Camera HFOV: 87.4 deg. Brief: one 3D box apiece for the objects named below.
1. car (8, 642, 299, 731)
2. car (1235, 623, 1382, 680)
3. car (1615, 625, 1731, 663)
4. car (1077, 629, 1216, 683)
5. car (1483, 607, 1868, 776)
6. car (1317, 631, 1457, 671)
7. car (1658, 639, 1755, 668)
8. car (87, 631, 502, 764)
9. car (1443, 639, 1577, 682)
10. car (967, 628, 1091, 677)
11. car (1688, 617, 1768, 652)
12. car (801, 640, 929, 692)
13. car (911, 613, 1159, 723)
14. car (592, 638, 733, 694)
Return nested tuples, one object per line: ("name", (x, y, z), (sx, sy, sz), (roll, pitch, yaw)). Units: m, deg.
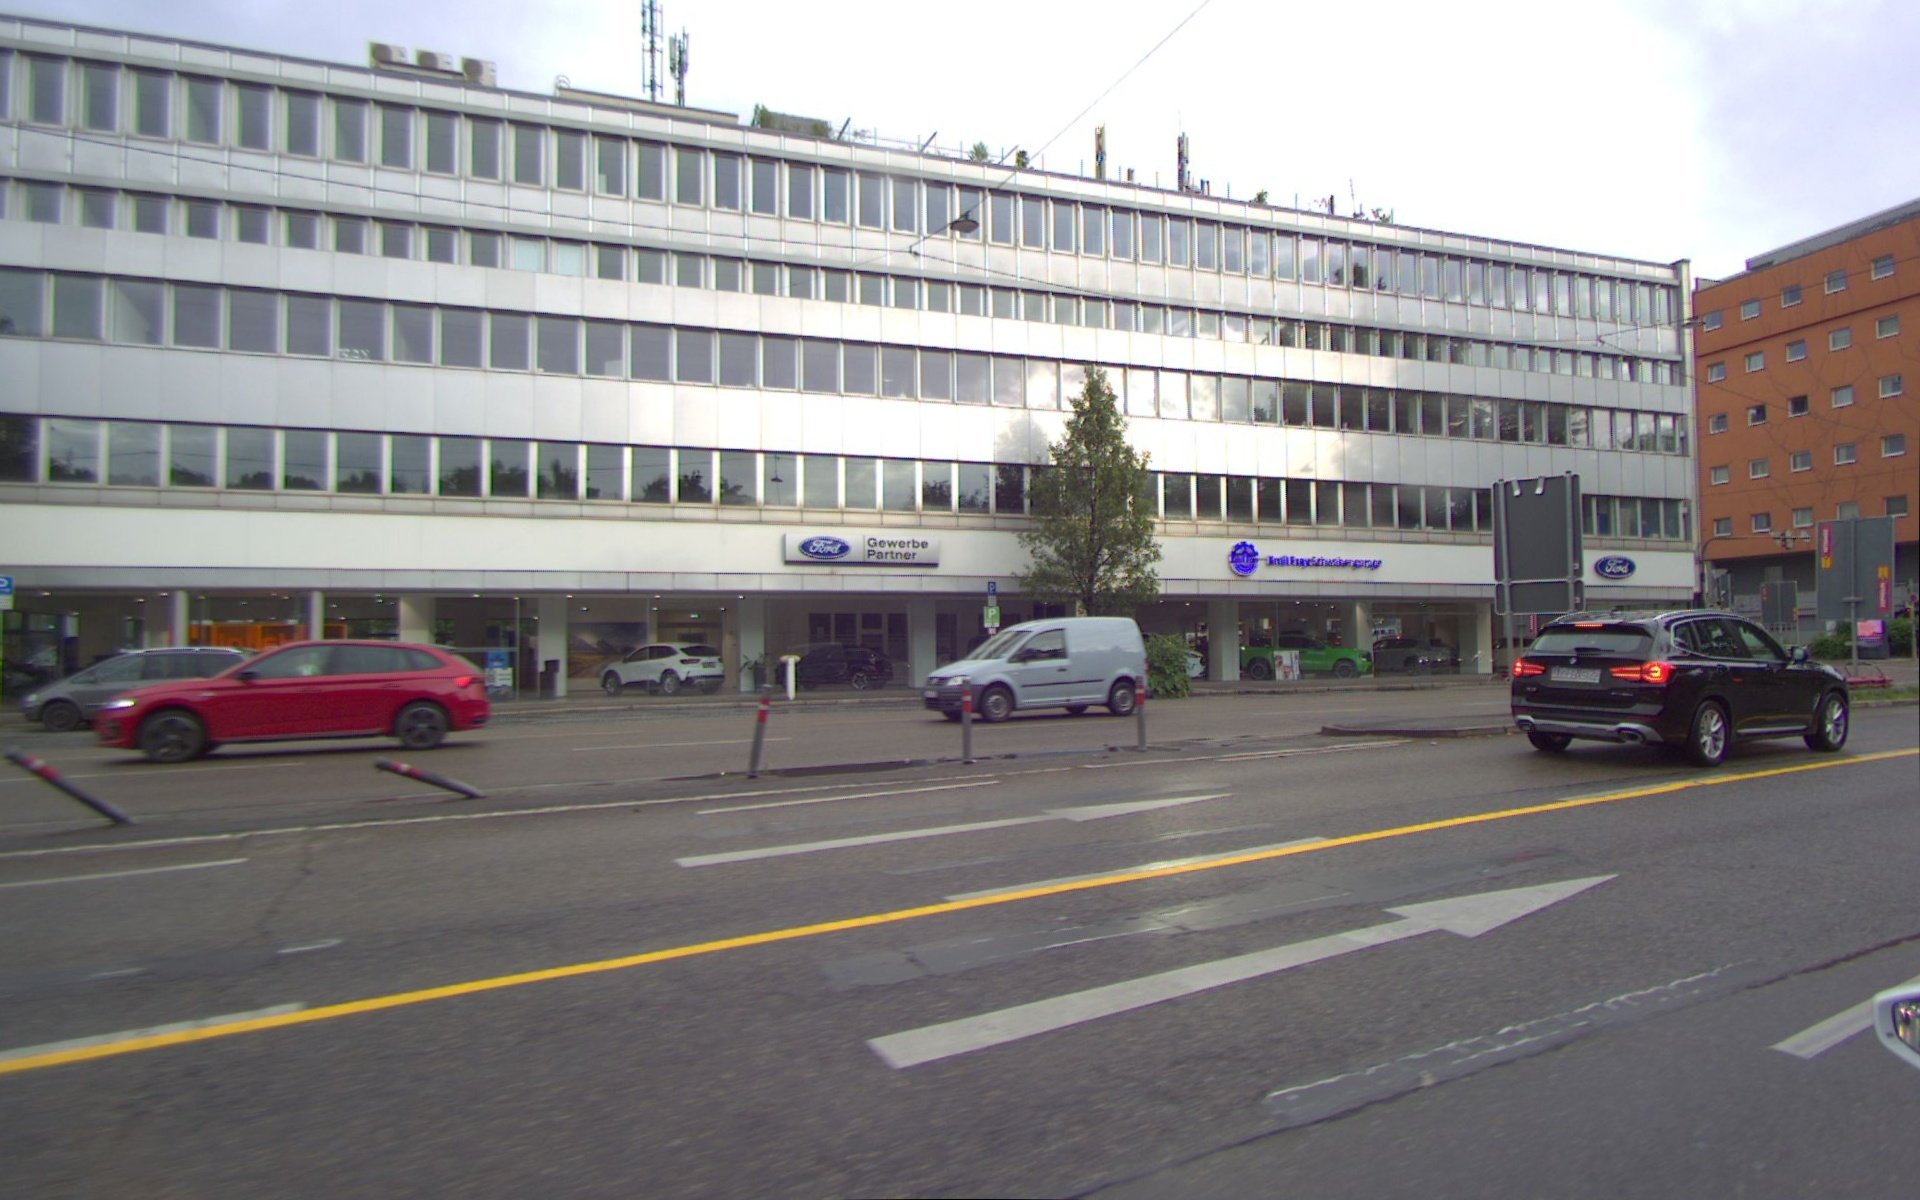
("car", (-17.811, 1.899, 22.487), (4.654, 1.802, 1.848), (0, -4, -18))
("car", (13.646, 2.069, 39.439), (5.113, 2.037, 1.997), (-3, -4, 29))
("car", (39.414, 2.489, 55.700), (1.968, 1.869, 5.077), (1, -5, -17))
("car", (7.146, 2.178, 38.483), (4.892, 1.921, 2.000), (-3, -4, 21))
("car", (8.520, 0.924, 11.891), (4.613, 1.619, 1.939), (0, 0, -29))
("car", (18.189, 2.227, 43.016), (1.984, 1.540, 5.147), (2, -5, -40))
("car", (41.501, 2.993, 55.949), (1.560, 1.464, 4.134), (0, -4, -19))
("car", (-8.520, 1.216, 13.372), (4.319, 1.521, 1.823), (1, -4, -28))
("car", (24.048, 2.688, 44.076), (1.980, 1.761, 4.728), (2, -5, -35))
("car", (2.442, 1.914, 35.775), (3.936, 1.594, 1.994), (-4, -5, 35))
("car", (48.888, 2.184, 63.901), (4.785, 2.041, 1.988), (1, 1, -24))
("car", (-3.159, 2.173, 33.048), (3.932, 1.594, 1.996), (0, -4, -14))
("car", (1.389, 1.219, 18.368), (4.246, 1.809, 1.728), (1, -4, -27))
("car", (-9.561, 2.149, 32.250), (4.306, 1.673, 1.852), (-3, -4, 28))
